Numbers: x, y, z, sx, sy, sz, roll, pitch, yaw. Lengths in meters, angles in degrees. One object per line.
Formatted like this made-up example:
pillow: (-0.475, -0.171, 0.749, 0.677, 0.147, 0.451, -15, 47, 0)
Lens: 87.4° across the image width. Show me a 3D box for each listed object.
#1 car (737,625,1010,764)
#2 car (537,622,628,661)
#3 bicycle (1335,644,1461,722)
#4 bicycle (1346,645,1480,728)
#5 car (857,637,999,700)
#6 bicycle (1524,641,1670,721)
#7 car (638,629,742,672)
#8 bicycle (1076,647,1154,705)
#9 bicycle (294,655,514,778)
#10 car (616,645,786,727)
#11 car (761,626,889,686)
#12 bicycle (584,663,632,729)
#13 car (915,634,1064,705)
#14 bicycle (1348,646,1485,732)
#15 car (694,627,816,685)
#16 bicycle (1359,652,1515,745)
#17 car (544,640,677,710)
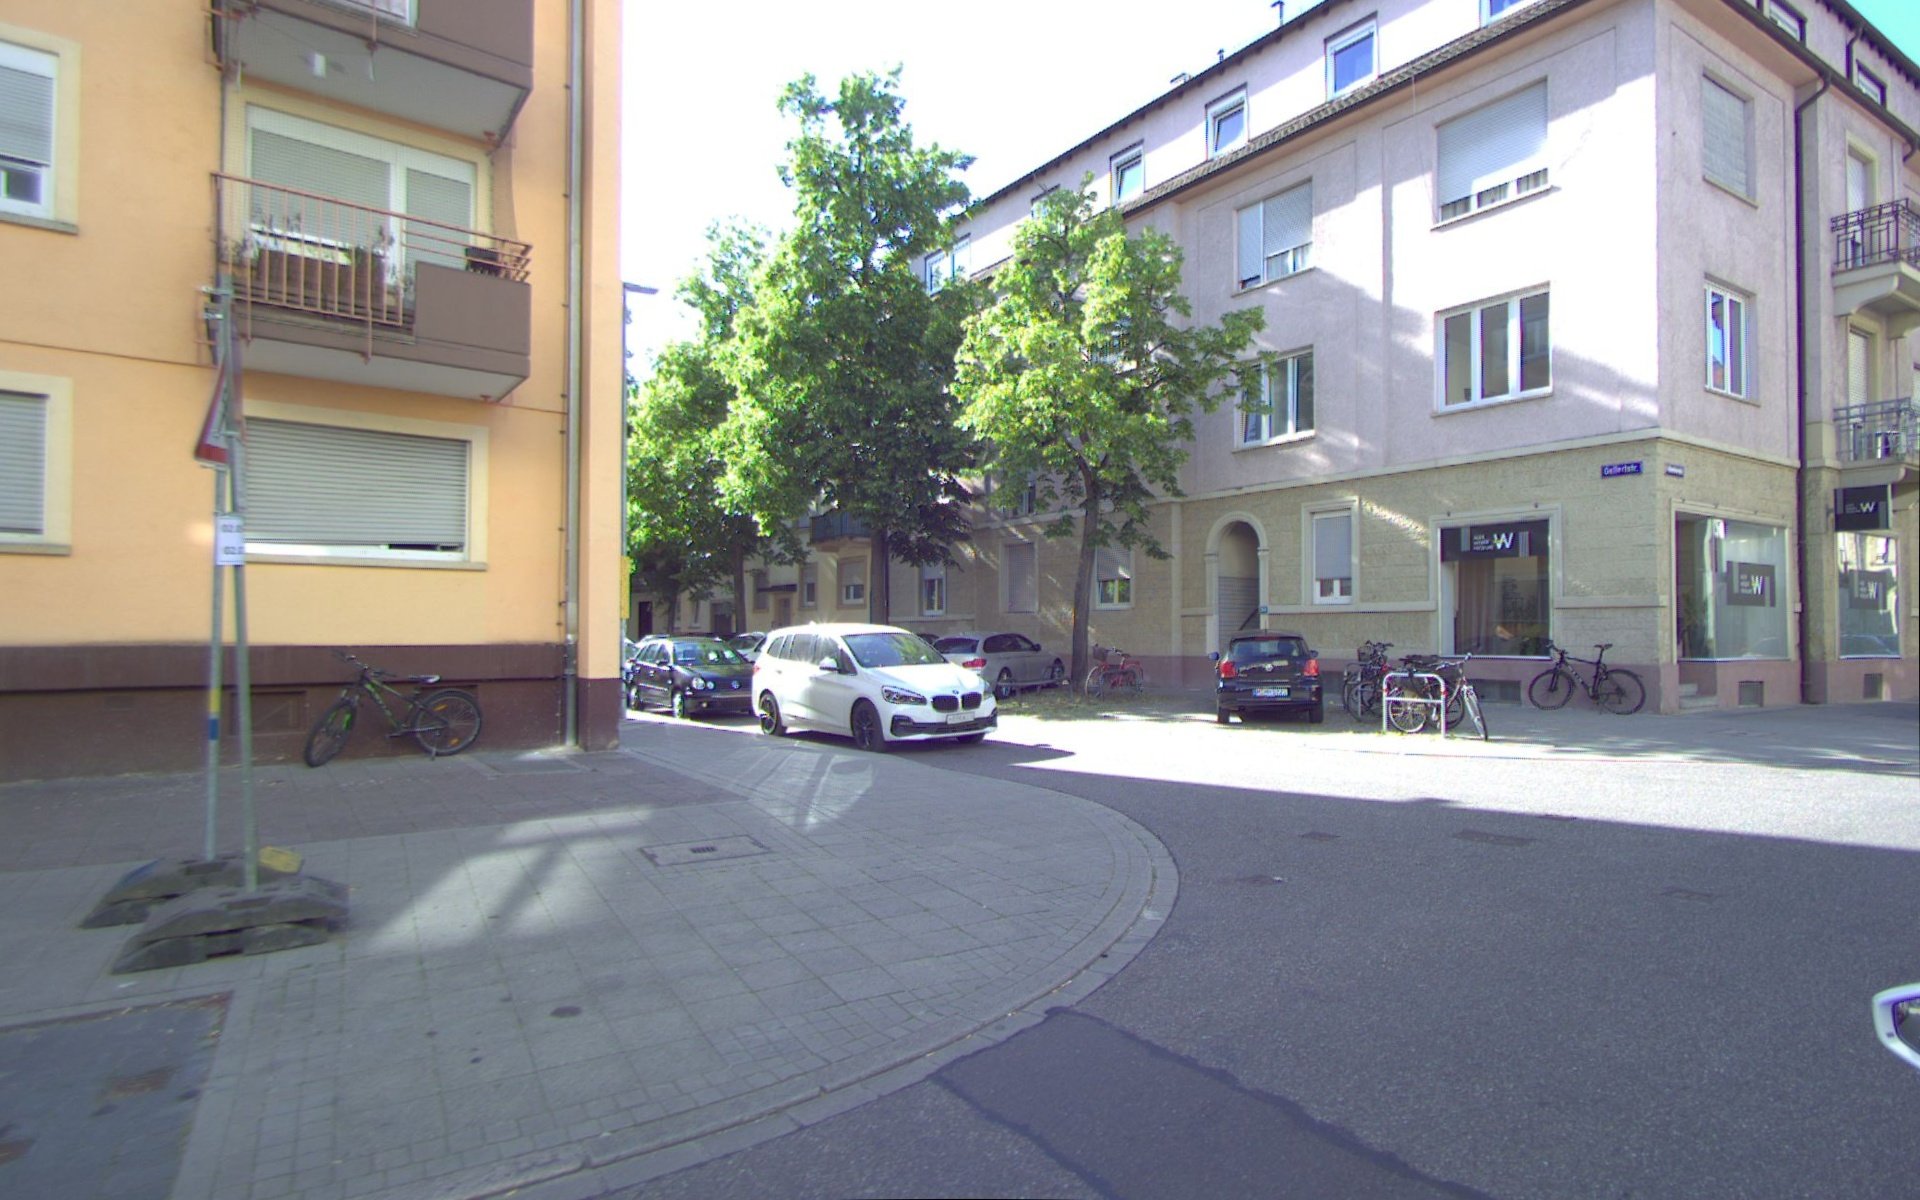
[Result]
car: (-1.373, 1.169, 14.015, 1.712, 1.614, 4.400, 1, -2, -38)
car: (-17.333, 1.867, 46.209, 1.680, 1.690, 3.590, -1, -1, 42)
bicycle: (7.111, 1.320, 16.399, 0.520, 1.150, 1.887, -1, -1, -33)
bicycle: (6.956, 1.297, 15.516, 0.520, 1.150, 1.887, -1, -1, -33)
car: (-0.711, 1.674, 25.514, 1.674, 1.445, 4.207, -1, -2, 30)
bicycle: (10.267, 1.276, 16.249, 0.642, 1.150, 1.884, -1, 0, -38)
car: (-10.430, 1.918, 38.928, 1.680, 1.482, 3.590, -1, -1, 42)
bicycle: (3.247, 1.563, 20.976, 1.877, 1.078, 0.499, -1, 1, -40)
bicycle: (-5.532, 1.120, 10.061, 1.874, 1.078, 0.500, 1, 1, -36)
car: (-5.052, 1.554, 19.189, 1.711, 1.327, 4.168, 1, -2, -37)
car: (-3.975, 1.612, 30.038, 1.680, 1.630, 3.590, -1, -1, 42)
bicycle: (-5.690, 1.527, 16.201, 0.395, 0.979, 1.683, 4, -4, -29)
car: (0.781, 1.531, 23.122, 1.674, 1.457, 4.207, -1, -2, 30)
bicycle: (6.721, 1.282, 14.904, 0.520, 1.150, 1.890, -1, -1, -29)
car: (-6.584, 1.765, 32.436, 1.680, 1.690, 3.590, -1, -1, 42)
bicycle: (6.507, 1.309, 13.813, 0.640, 1.150, 1.890, -1, -1, -29)
car: (-8.202, 1.667, 23.371, 1.712, 1.423, 4.167, 1, -2, -38)
